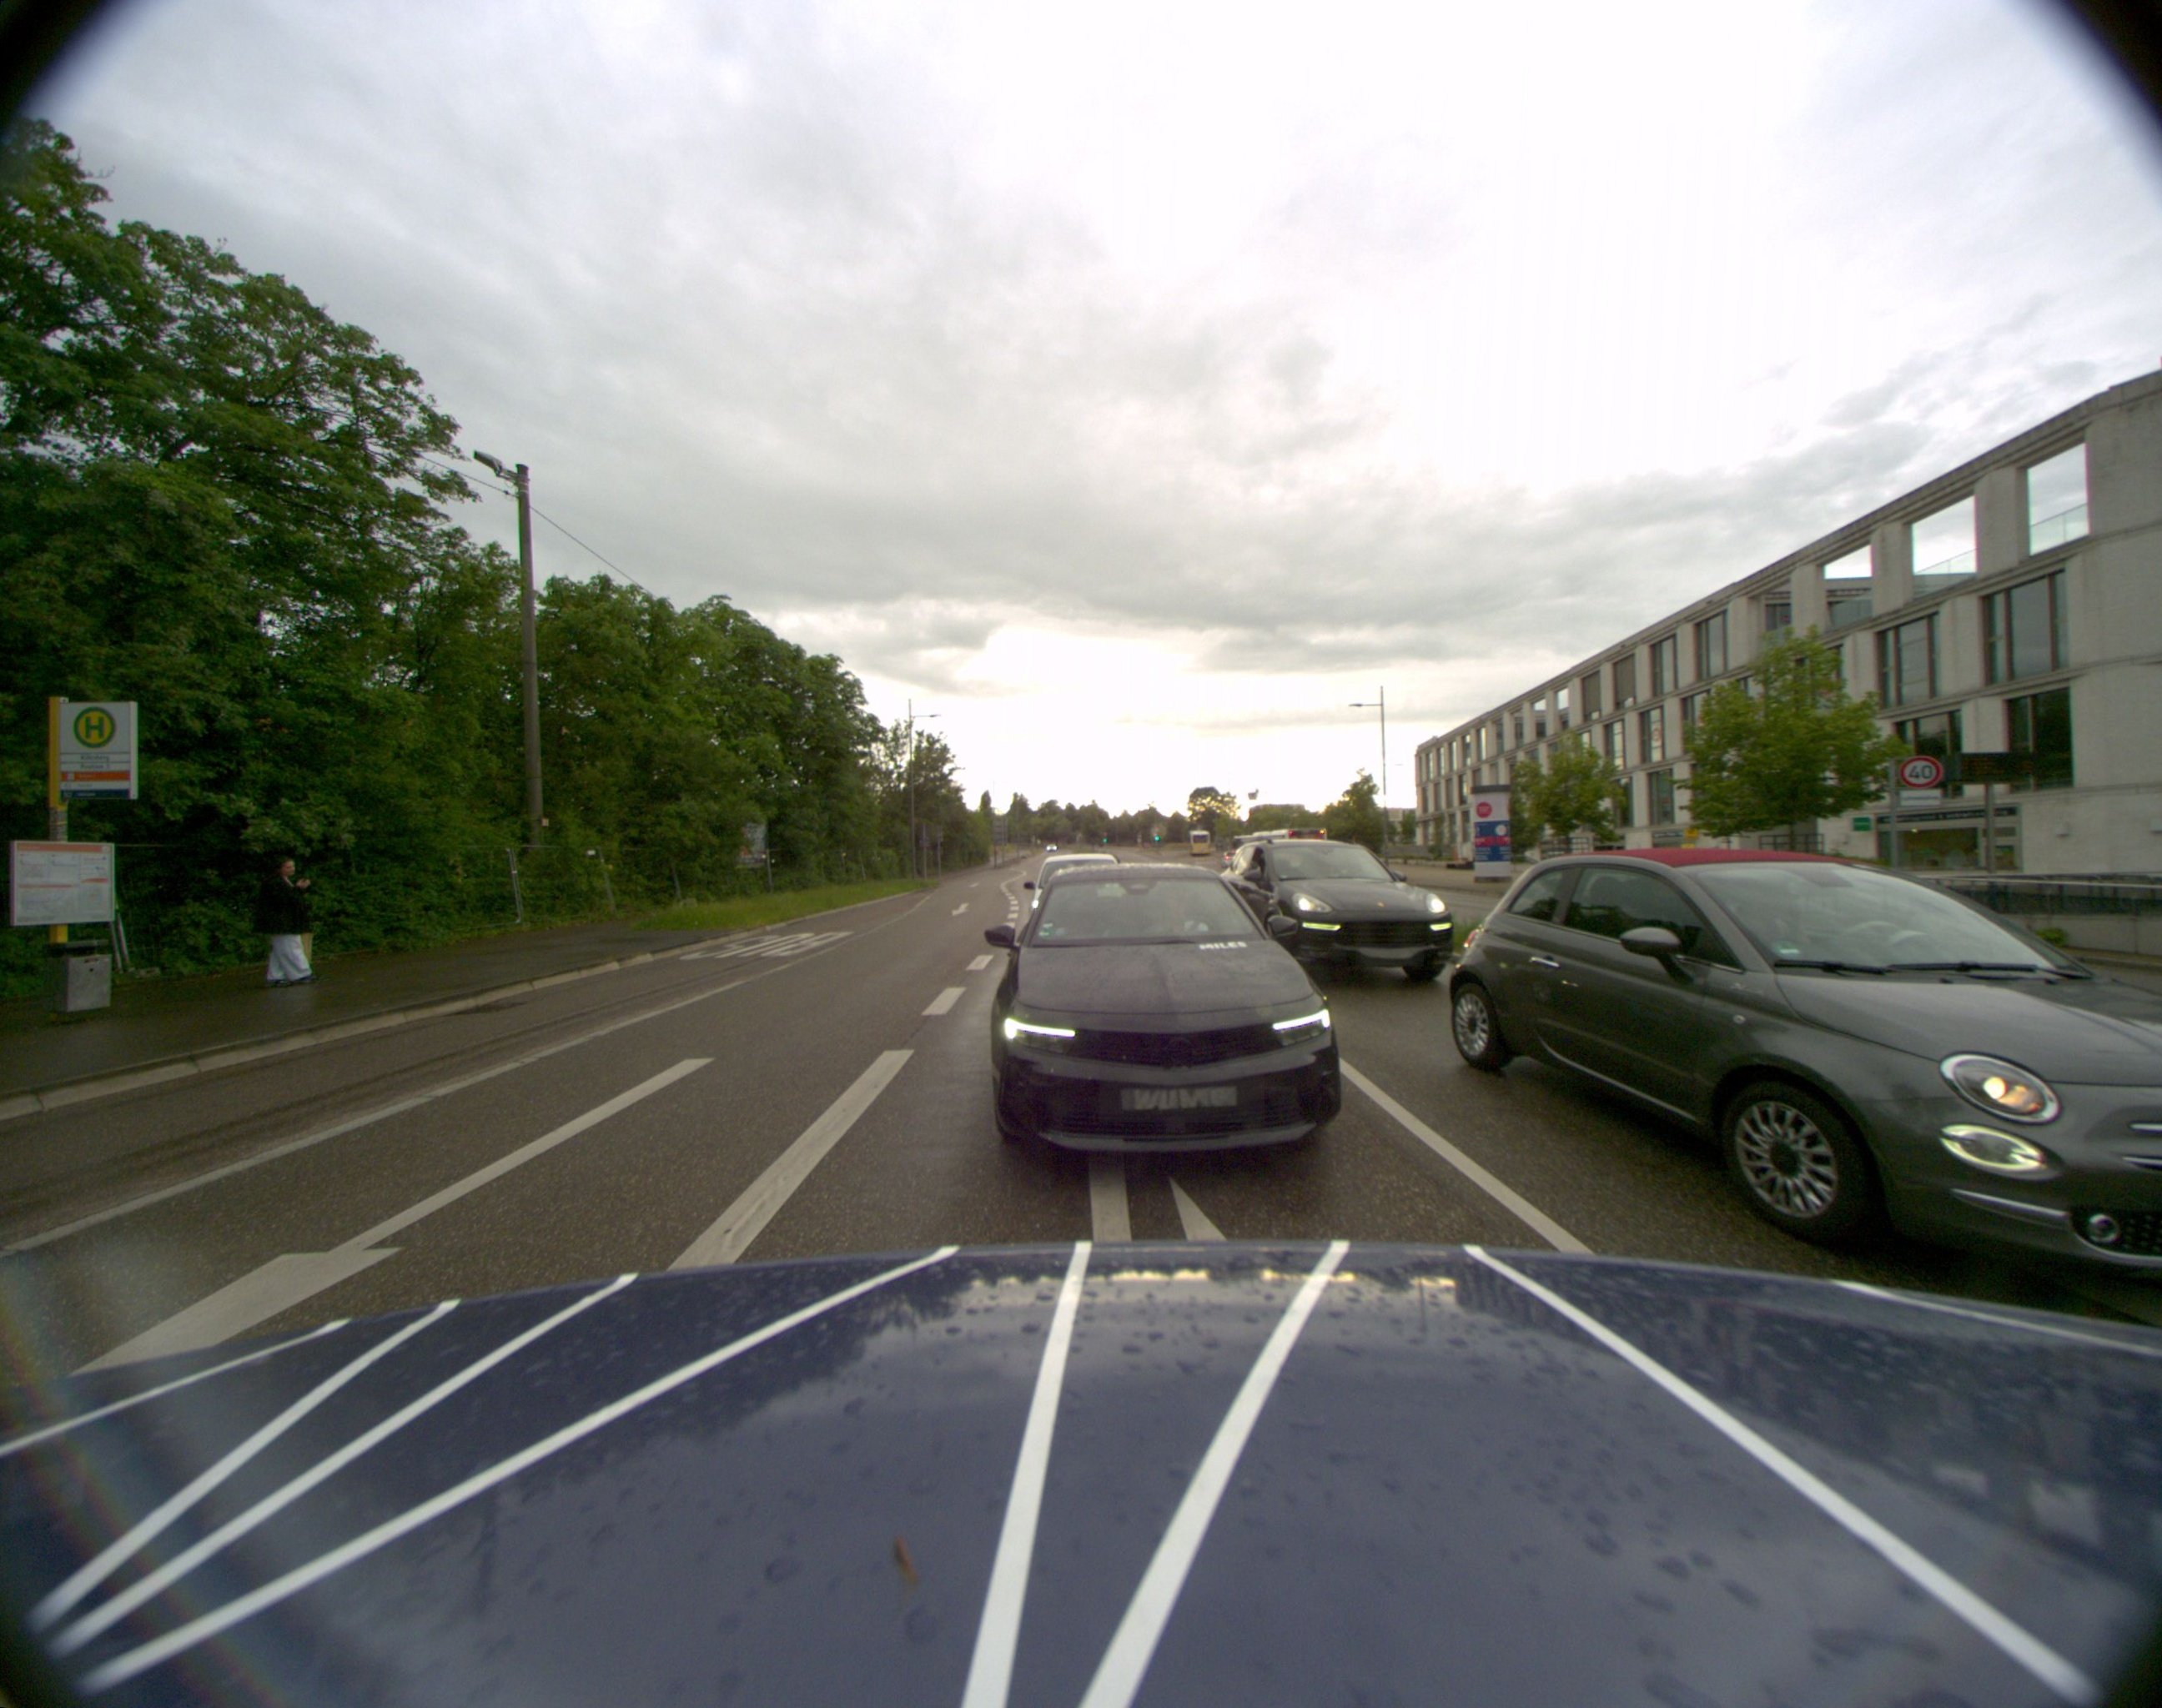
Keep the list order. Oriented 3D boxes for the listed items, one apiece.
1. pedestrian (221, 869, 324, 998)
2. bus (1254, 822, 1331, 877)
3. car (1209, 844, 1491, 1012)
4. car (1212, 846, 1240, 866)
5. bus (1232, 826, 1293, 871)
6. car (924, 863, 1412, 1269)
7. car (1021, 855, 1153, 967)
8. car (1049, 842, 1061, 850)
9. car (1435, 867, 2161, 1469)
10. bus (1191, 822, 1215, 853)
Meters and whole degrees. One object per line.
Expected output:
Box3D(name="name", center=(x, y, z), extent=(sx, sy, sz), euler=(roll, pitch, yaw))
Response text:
Box3D(name="pedestrian", center=(-10.579, 1.014, 9.961), extent=(0.588, 1.618, 0.661), euler=(-1, 1, 1))
Box3D(name="bus", center=(13.830, -0.316, 50.532), extent=(2.759, 3.194, 9.207), euler=(-2, 1, 2))
Box3D(name="car", center=(3.098, 0.728, 9.946), extent=(1.934, 1.649, 4.617), euler=(-1, 0, -2))
Box3D(name="car", center=(13.591, 0.154, 71.631), extent=(1.867, 1.777, 3.999), euler=(-2, 1, 1))
Box3D(name="bus", center=(14.121, -0.456, 60.037), extent=(2.693, 3.163, 9.912), euler=(-2, 1, 2))
Box3D(name="car", center=(0.383, 0.885, 5.424), extent=(1.901, 1.456, 4.767), euler=(-2, 1, 1))
Box3D(name="car", center=(0.119, 0.846, 13.645), extent=(1.901, 1.524, 4.767), euler=(-2, 1, 1))
Box3D(name="car", center=(-5.670, -1.741, 164.877), extent=(2.000, 1.805, 3.996), euler=(-2, 1, -10))
Box3D(name="car", center=(3.432, 0.858, 3.769), extent=(1.631, 1.473, 3.505), euler=(-1, 1, -2))
Box3D(name="bus", center=(18.409, -2.432, 114.019), extent=(2.757, 4.129, 19.359), euler=(-2, 1, 11))
